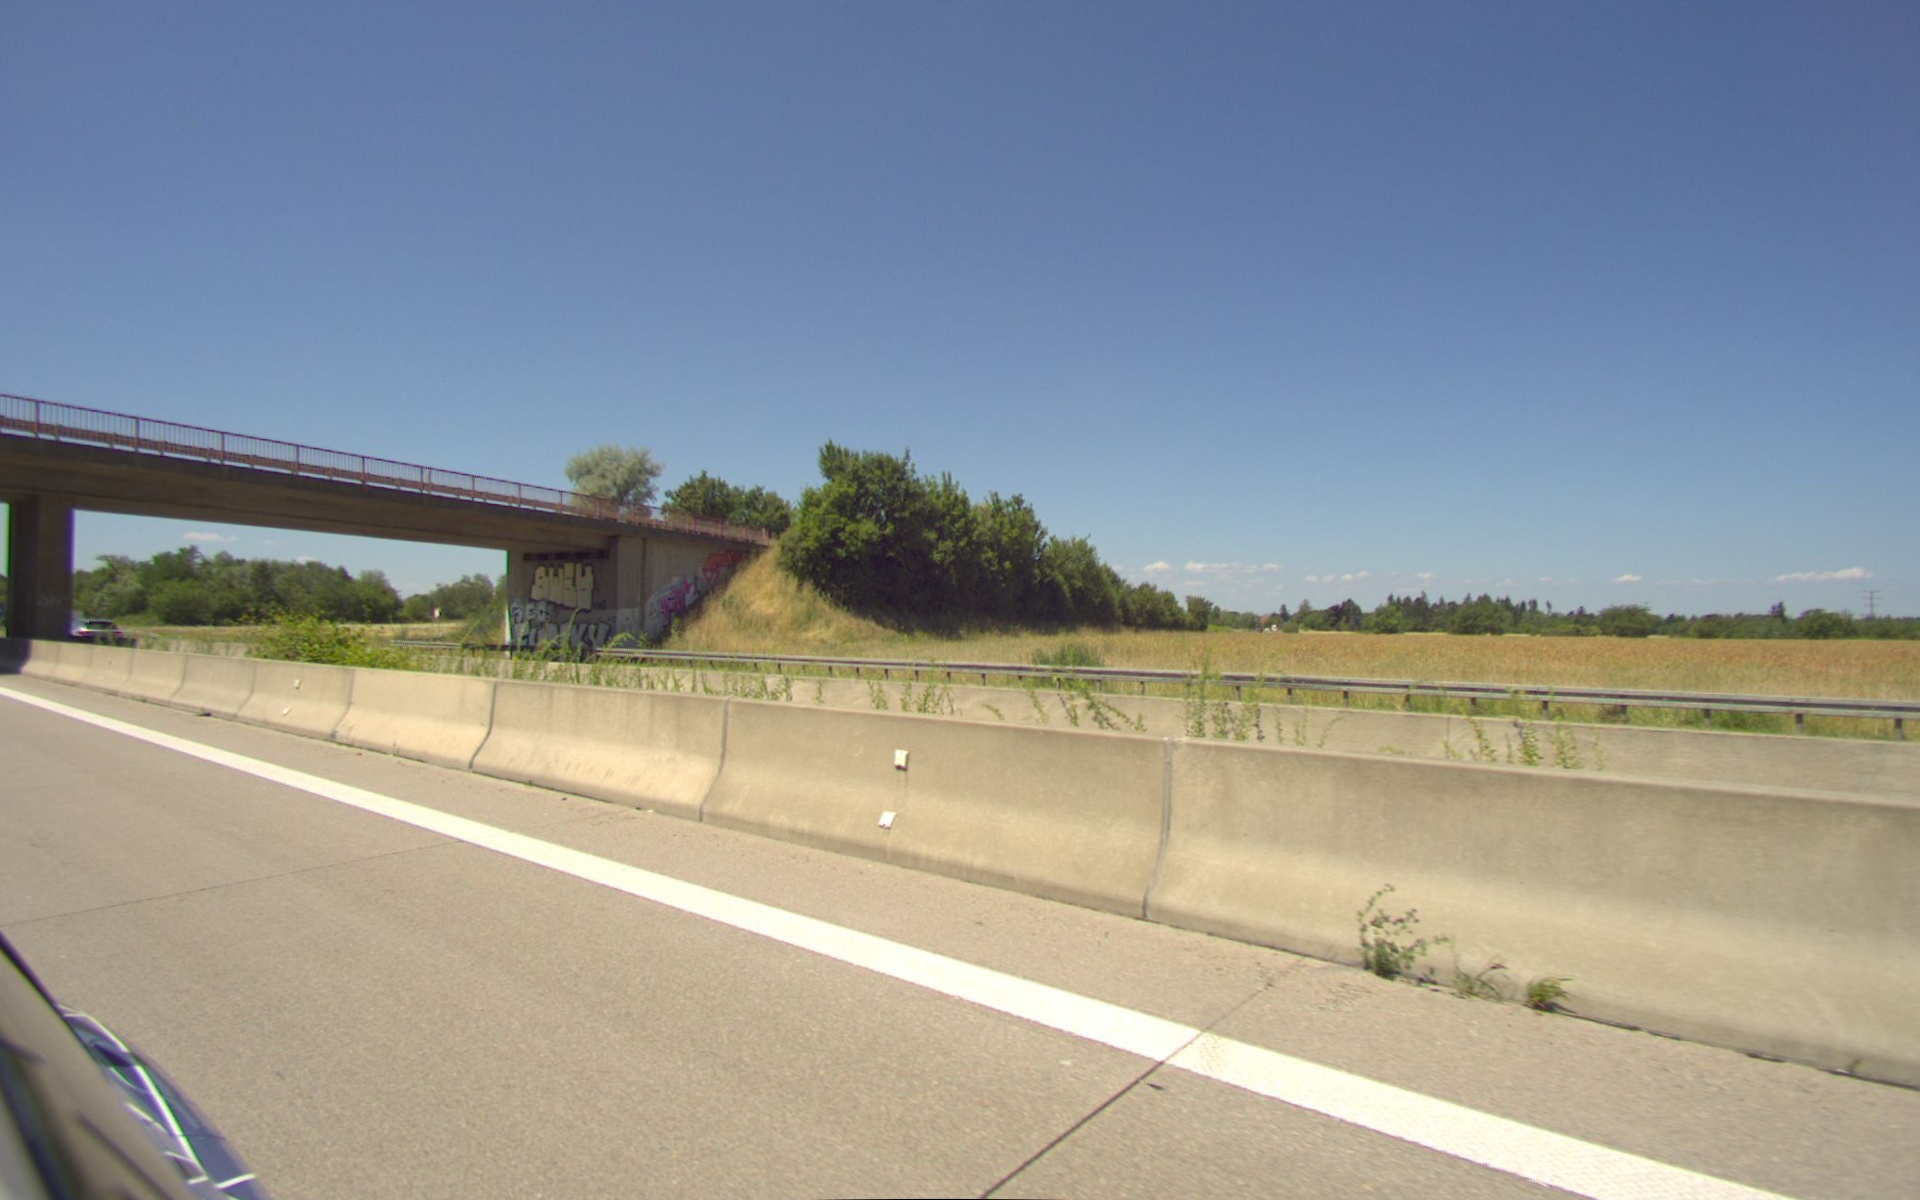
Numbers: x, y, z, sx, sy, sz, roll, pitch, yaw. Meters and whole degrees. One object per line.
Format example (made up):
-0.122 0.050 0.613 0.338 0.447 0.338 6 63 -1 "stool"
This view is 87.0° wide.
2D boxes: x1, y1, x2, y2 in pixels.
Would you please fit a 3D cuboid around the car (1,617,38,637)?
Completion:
-79.043 2.221 85.016 3.858 1.631 1.748 -1 -1 39 "car"

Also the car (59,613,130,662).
-38.360 1.608 44.826 3.998 2.029 1.819 -1 0 41 "car"
